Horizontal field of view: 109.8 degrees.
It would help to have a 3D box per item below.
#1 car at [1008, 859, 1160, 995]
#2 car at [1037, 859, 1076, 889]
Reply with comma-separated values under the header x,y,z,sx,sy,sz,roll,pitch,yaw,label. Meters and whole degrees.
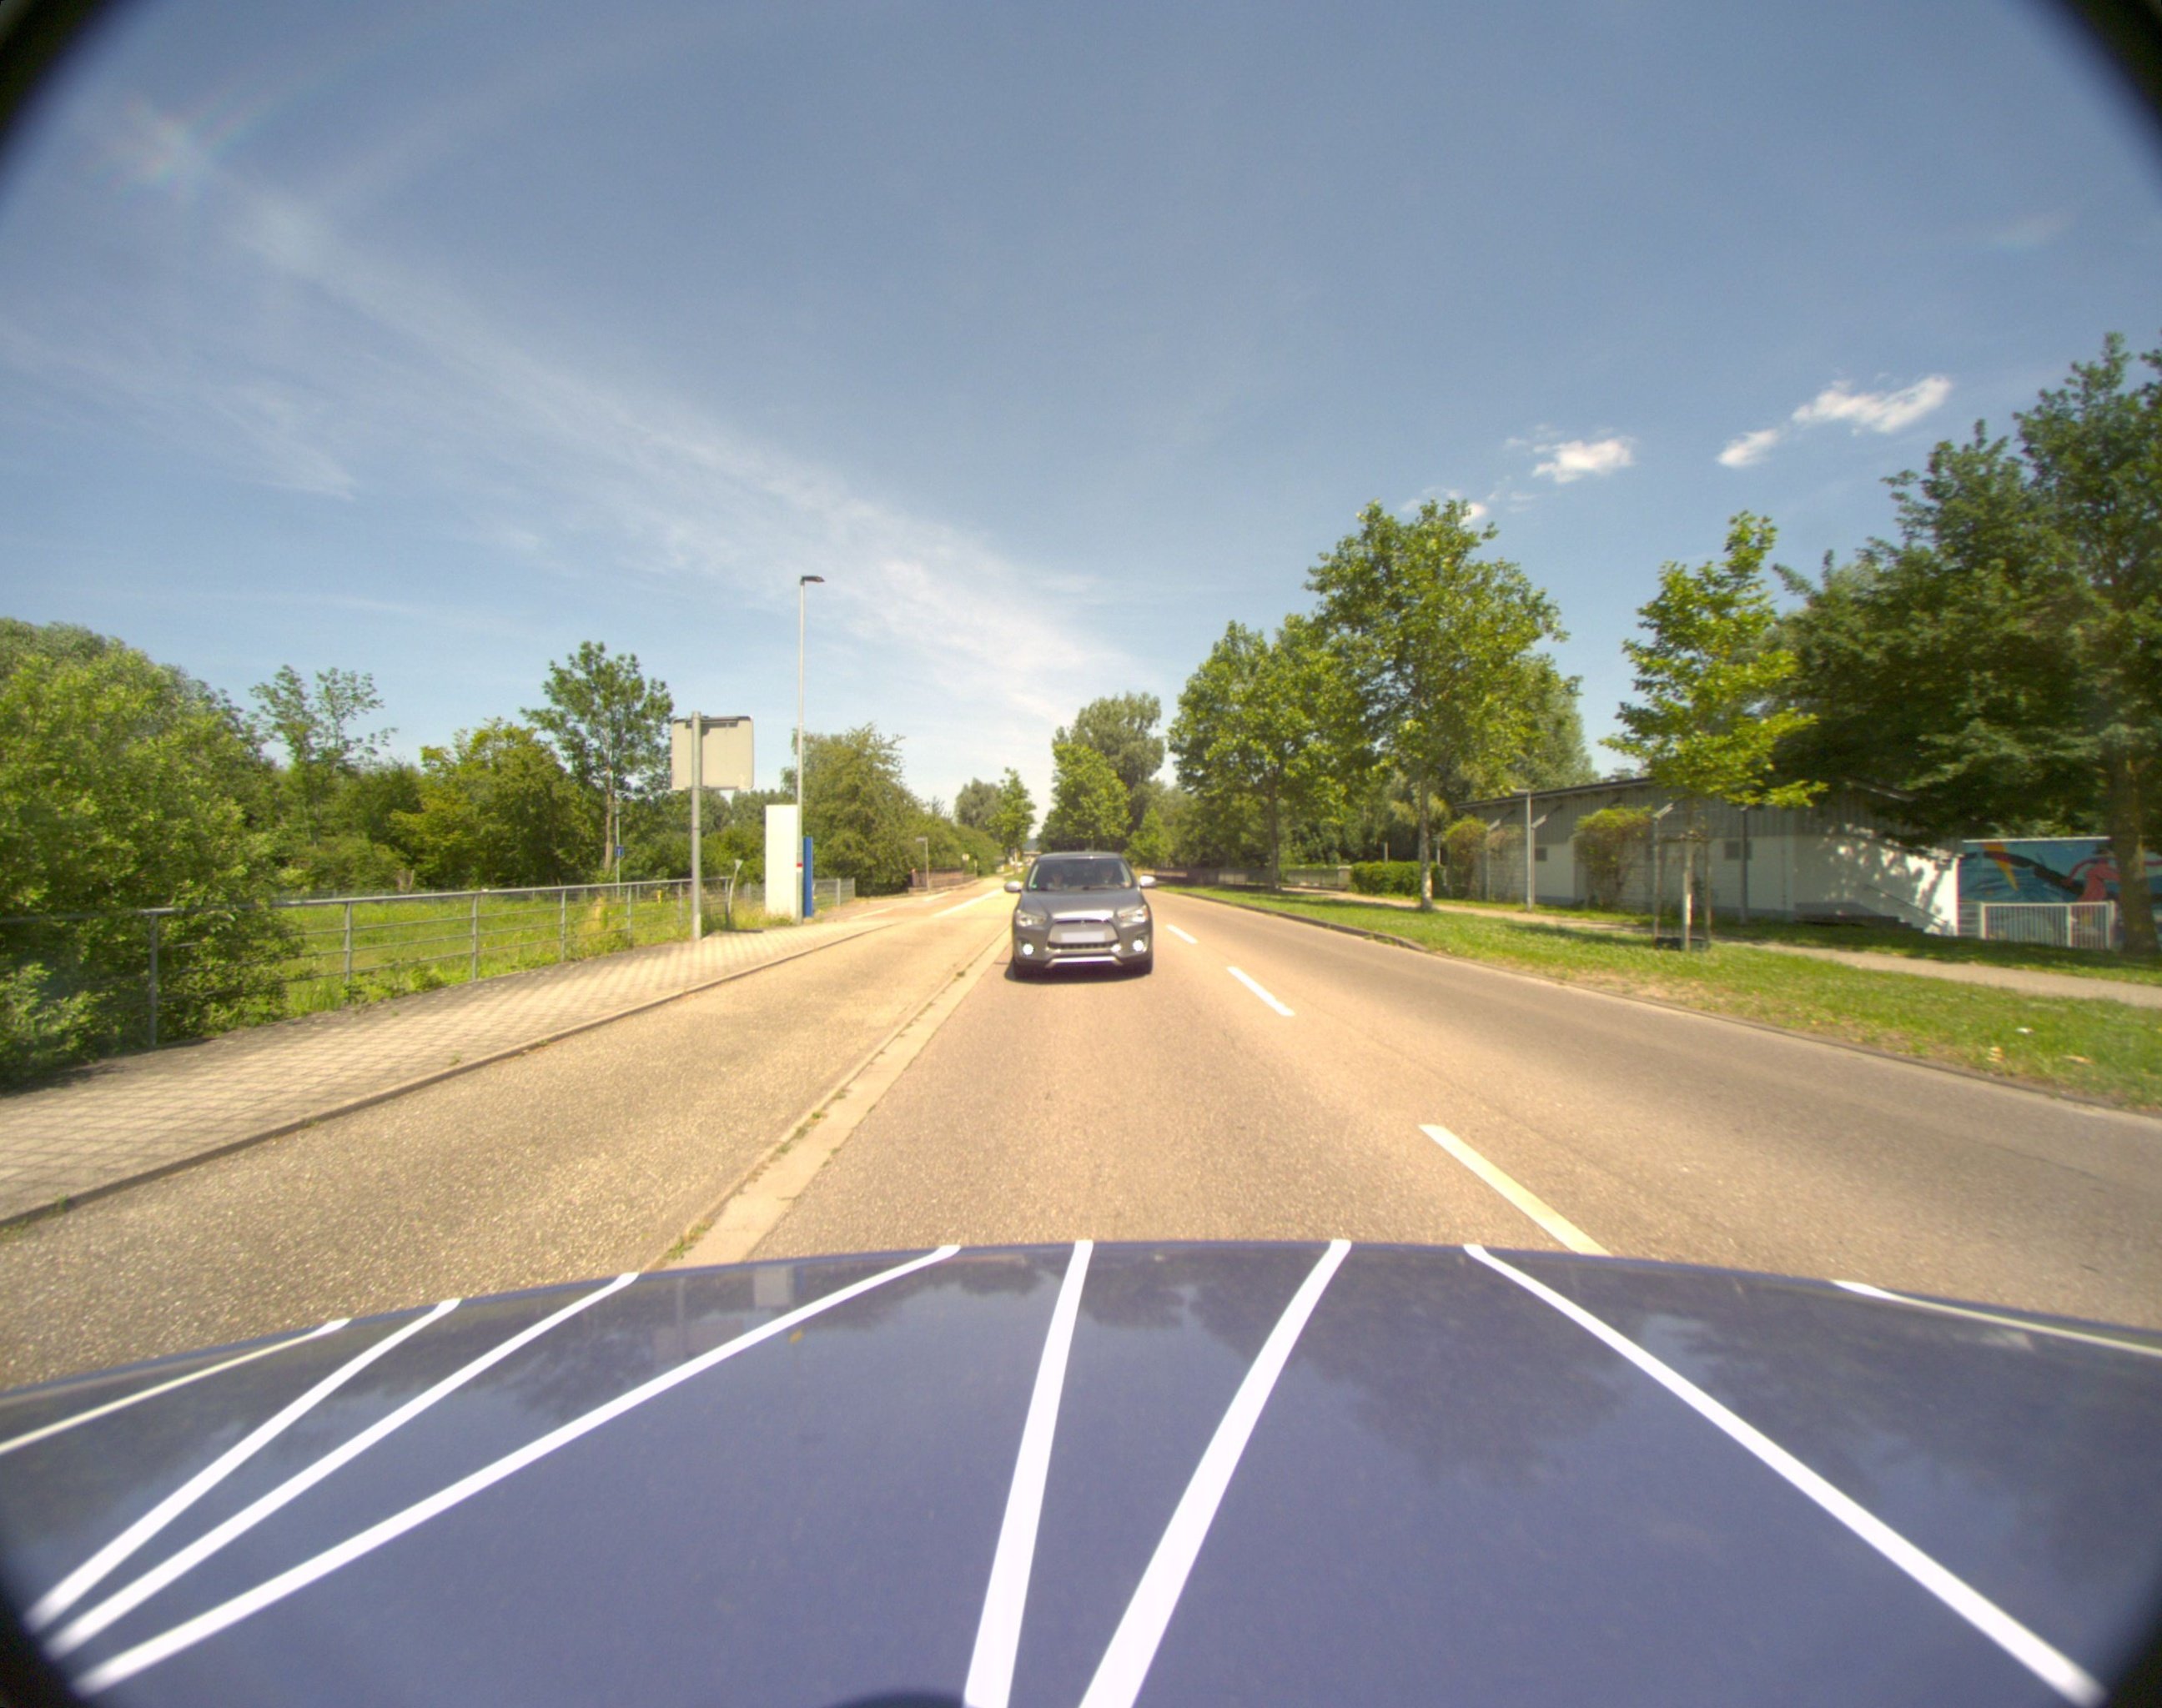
x,y,z,sx,sy,sz,roll,pitch,yaw,label
-0.112,0.863,11.094,1.750,1.525,4.523,-1,0,-4,car
-1.276,0.971,37.843,1.677,1.342,3.829,-2,0,-6,car
